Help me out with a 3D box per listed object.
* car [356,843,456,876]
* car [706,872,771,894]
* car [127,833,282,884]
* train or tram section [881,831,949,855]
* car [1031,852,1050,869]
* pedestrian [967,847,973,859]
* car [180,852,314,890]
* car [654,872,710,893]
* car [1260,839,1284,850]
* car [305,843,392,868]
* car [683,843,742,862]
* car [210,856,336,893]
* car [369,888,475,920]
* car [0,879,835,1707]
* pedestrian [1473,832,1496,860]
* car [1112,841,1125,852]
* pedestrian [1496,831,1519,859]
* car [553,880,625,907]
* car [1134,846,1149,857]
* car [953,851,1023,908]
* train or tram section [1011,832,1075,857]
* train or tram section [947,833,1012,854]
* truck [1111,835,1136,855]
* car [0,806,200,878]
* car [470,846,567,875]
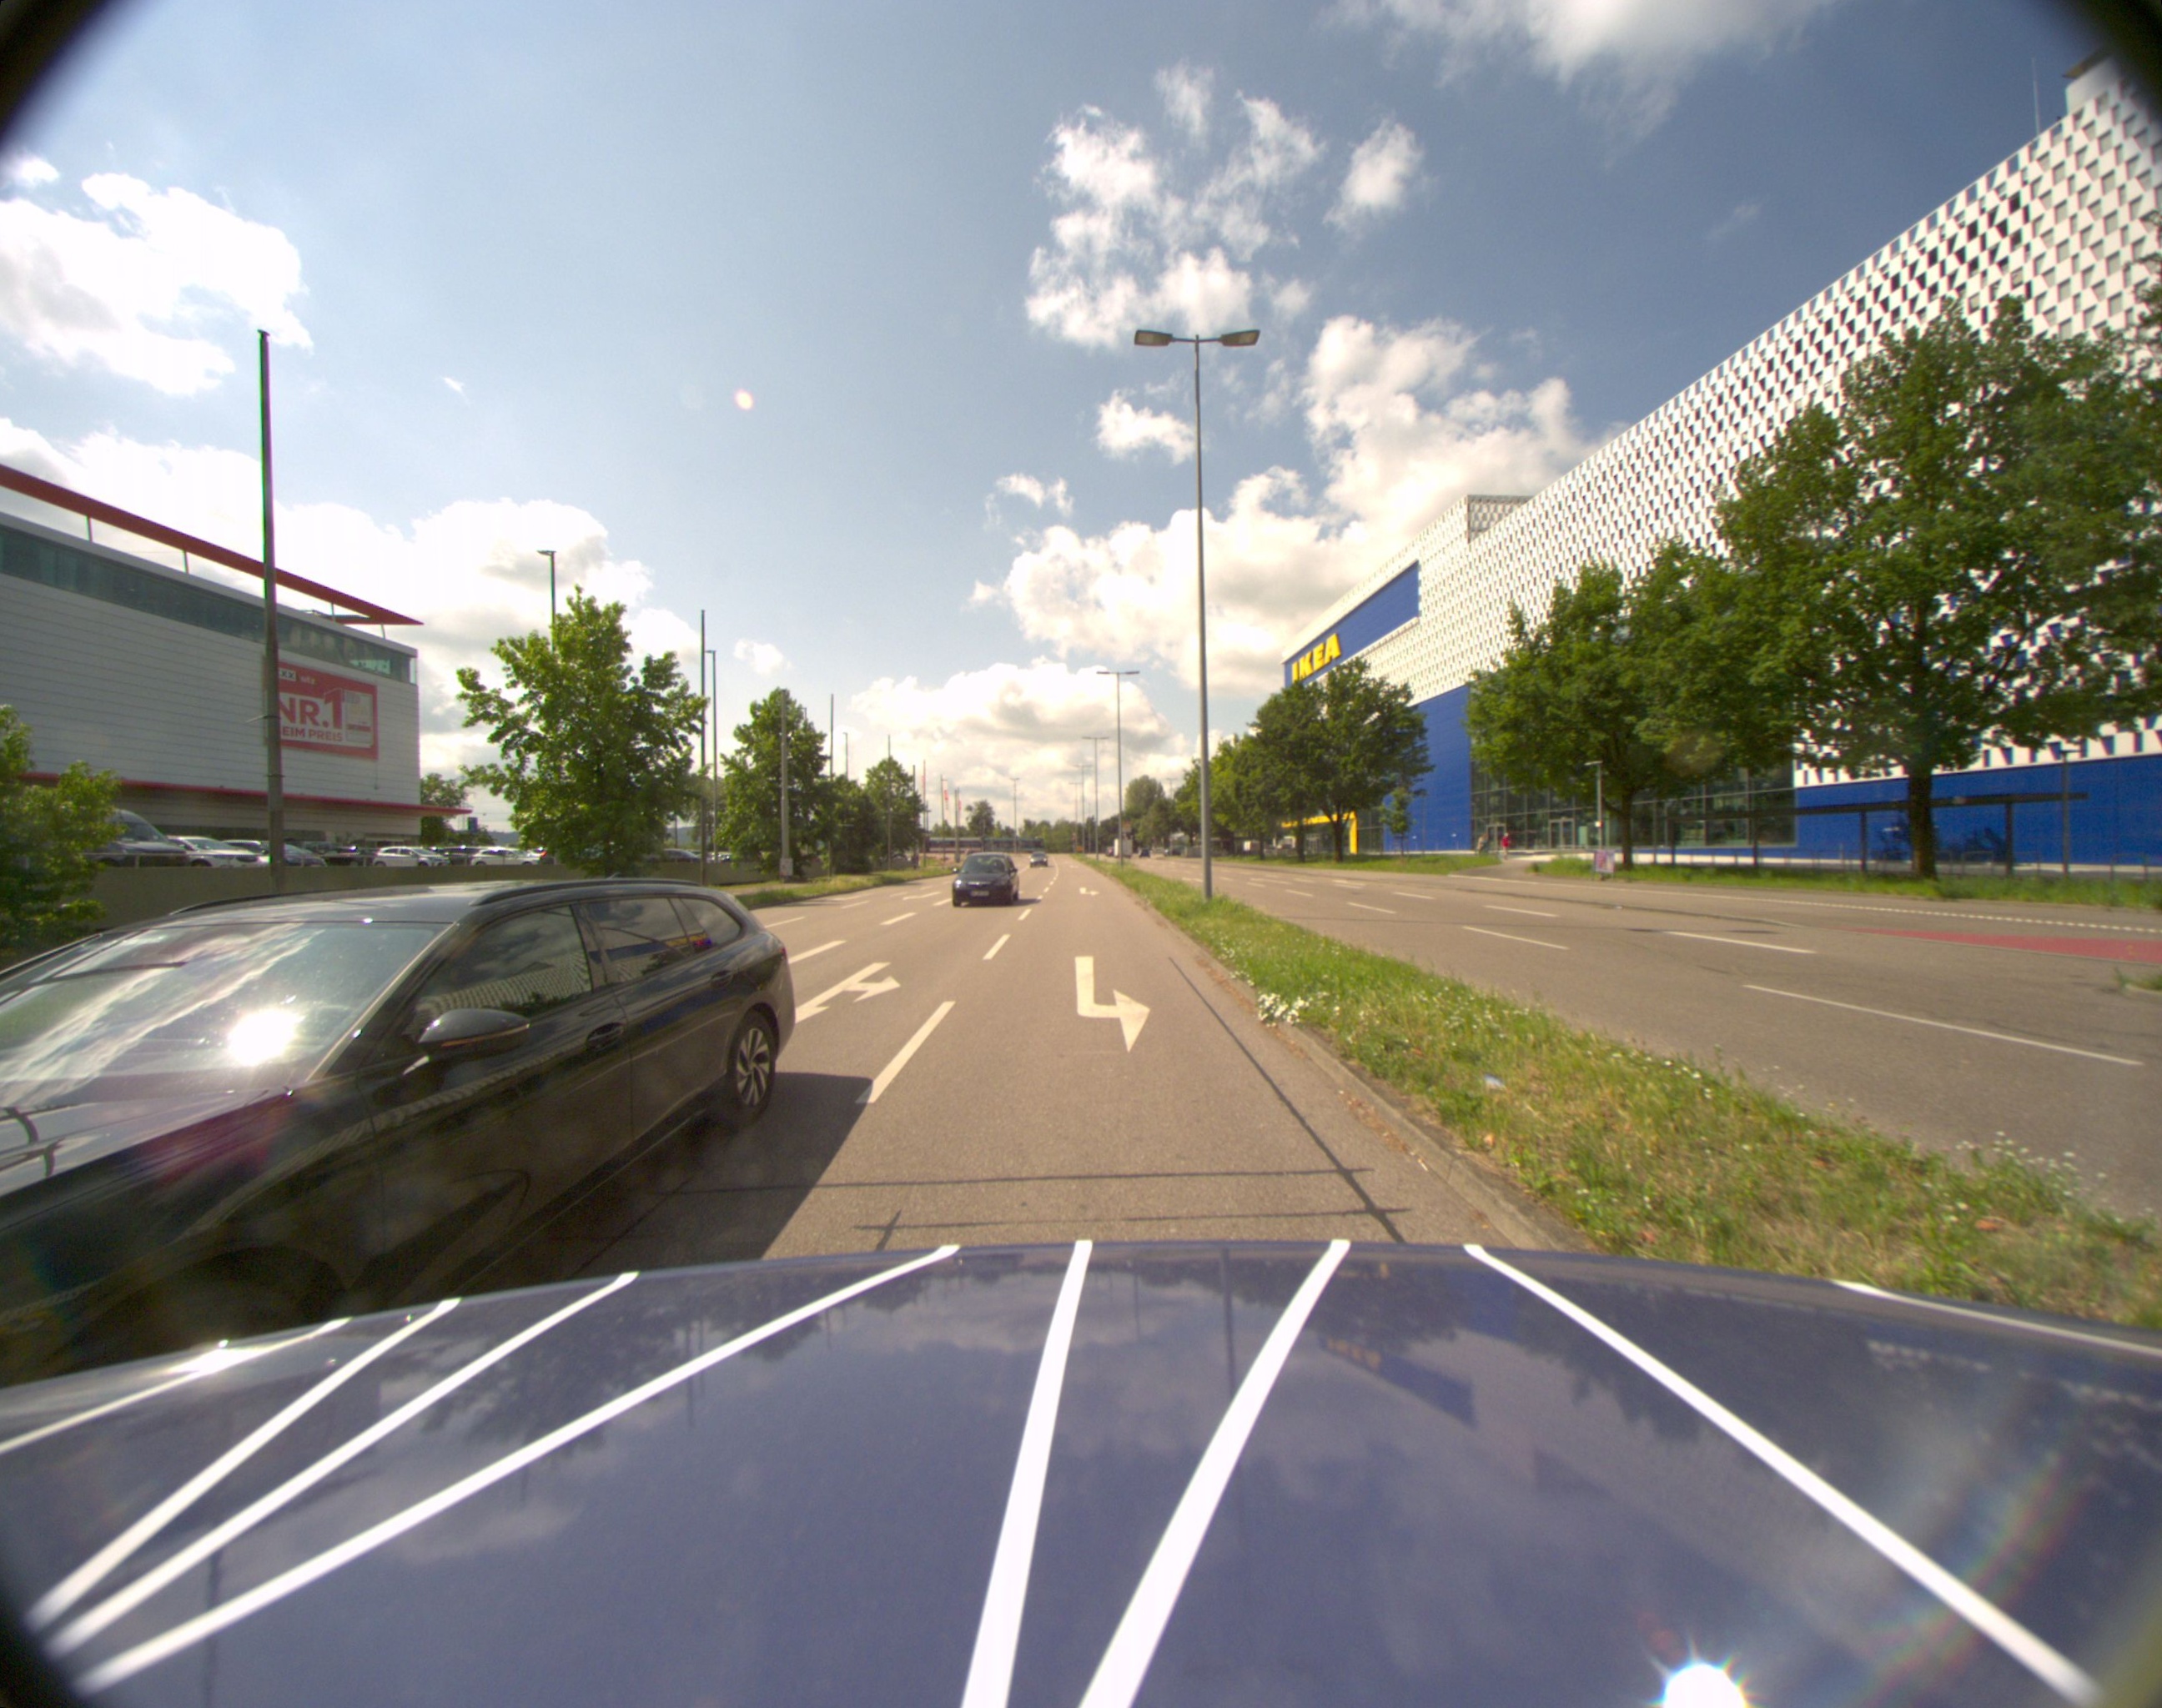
[{"bbox_3d":[-41.145,0.308,46.377,4.421,1.754,1.559,-2,2,-3],"label":"car"},{"bbox_3d":[-28.390,2.381,63.111,4.420,1.596,1.954,-2,1,-1],"label":"car"},{"bbox_3d":[-34.476,0.153,29.976,3.997,1.784,1.749,-2,2,1],"label":"car"},{"bbox_3d":[-34.302,-2.287,157.275,13.099,4.535,3.730,-2,2,-2],"label":"train or tram section"},{"bbox_3d":[-3.974,0.601,74.551,1.606,1.521,4.269,-1,0,-1],"label":"car"},{"bbox_3d":[-16.982,-0.207,116.679,0.705,1.803,0.544,-3,2,-24],"label":"pedestrian"},{"bbox_3d":[-38.643,0.762,35.272,4.417,1.596,1.956,-2,1,7],"label":"car"},{"bbox_3d":[-38.303,2.737,73.069,4.421,1.754,1.559,-2,2,-3],"label":"car"},{"bbox_3d":[36.306,-1.848,144.671,3.998,2.002,1.999,-2,2,-2],"label":"car"},{"bbox_3d":[-49.618,0.094,51.503,4.416,1.596,1.956,-2,1,11],"label":"car"},{"bbox_3d":[-33.857,-0.168,69.919,4.420,1.596,1.954,-2,1,-1],"label":"car"},{"bbox_3d":[-39.698,0.988,37.393,4.417,1.596,1.956,-2,1,7],"label":"car"},{"bbox_3d":[-38.079,2.884,43.996,4.419,1.596,1.955,-2,1,2],"label":"car"},{"bbox_3d":[-2.735,0.982,2.996,1.813,1.469,5.203,-2,1,0],"label":"car"},{"bbox_3d":[26.082,-0.516,49.113,0.854,1.718,1.164,-2,2,2],"label":"pedestrian"},{"bbox_3d":[6.134,-1.314,125.001,1.941,1.674,3.999,-2,1,0],"label":"car"},{"bbox_3d":[27.463,-0.592,48.967,0.854,1.718,1.164,-2,2,2],"label":"pedestrian"},{"bbox_3d":[-37.951,3.055,58.698,4.421,1.754,1.559,-2,2,-3],"label":"car"},{"bbox_3d":[9.673,-0.449,121.796,1.941,1.674,3.999,-2,1,0],"label":"car"},{"bbox_3d":[-2.692,0.678,22.837,1.606,1.521,4.269,-1,0,-1],"label":"car"},{"bbox_3d":[-7.838,-2.076,158.460,13.099,4.646,3.730,-2,2,-2],"label":"train or tram section"},{"bbox_3d":[-21.021,-2.182,157.849,13.099,4.346,3.730,0,2,-2],"label":"train or tram section"},{"bbox_3d":[6.300,-1.338,113.096,2.973,2.736,5.782,-2,1,-2],"label":"truck"},{"bbox_3d":[-35.197,-0.405,26.776,5.796,2.270,1.748,-2,2,-3],"label":"car"},{"bbox_3d":[-34.454,0.396,46.605,4.420,1.596,1.954,-2,1,-1],"label":"car"}]
